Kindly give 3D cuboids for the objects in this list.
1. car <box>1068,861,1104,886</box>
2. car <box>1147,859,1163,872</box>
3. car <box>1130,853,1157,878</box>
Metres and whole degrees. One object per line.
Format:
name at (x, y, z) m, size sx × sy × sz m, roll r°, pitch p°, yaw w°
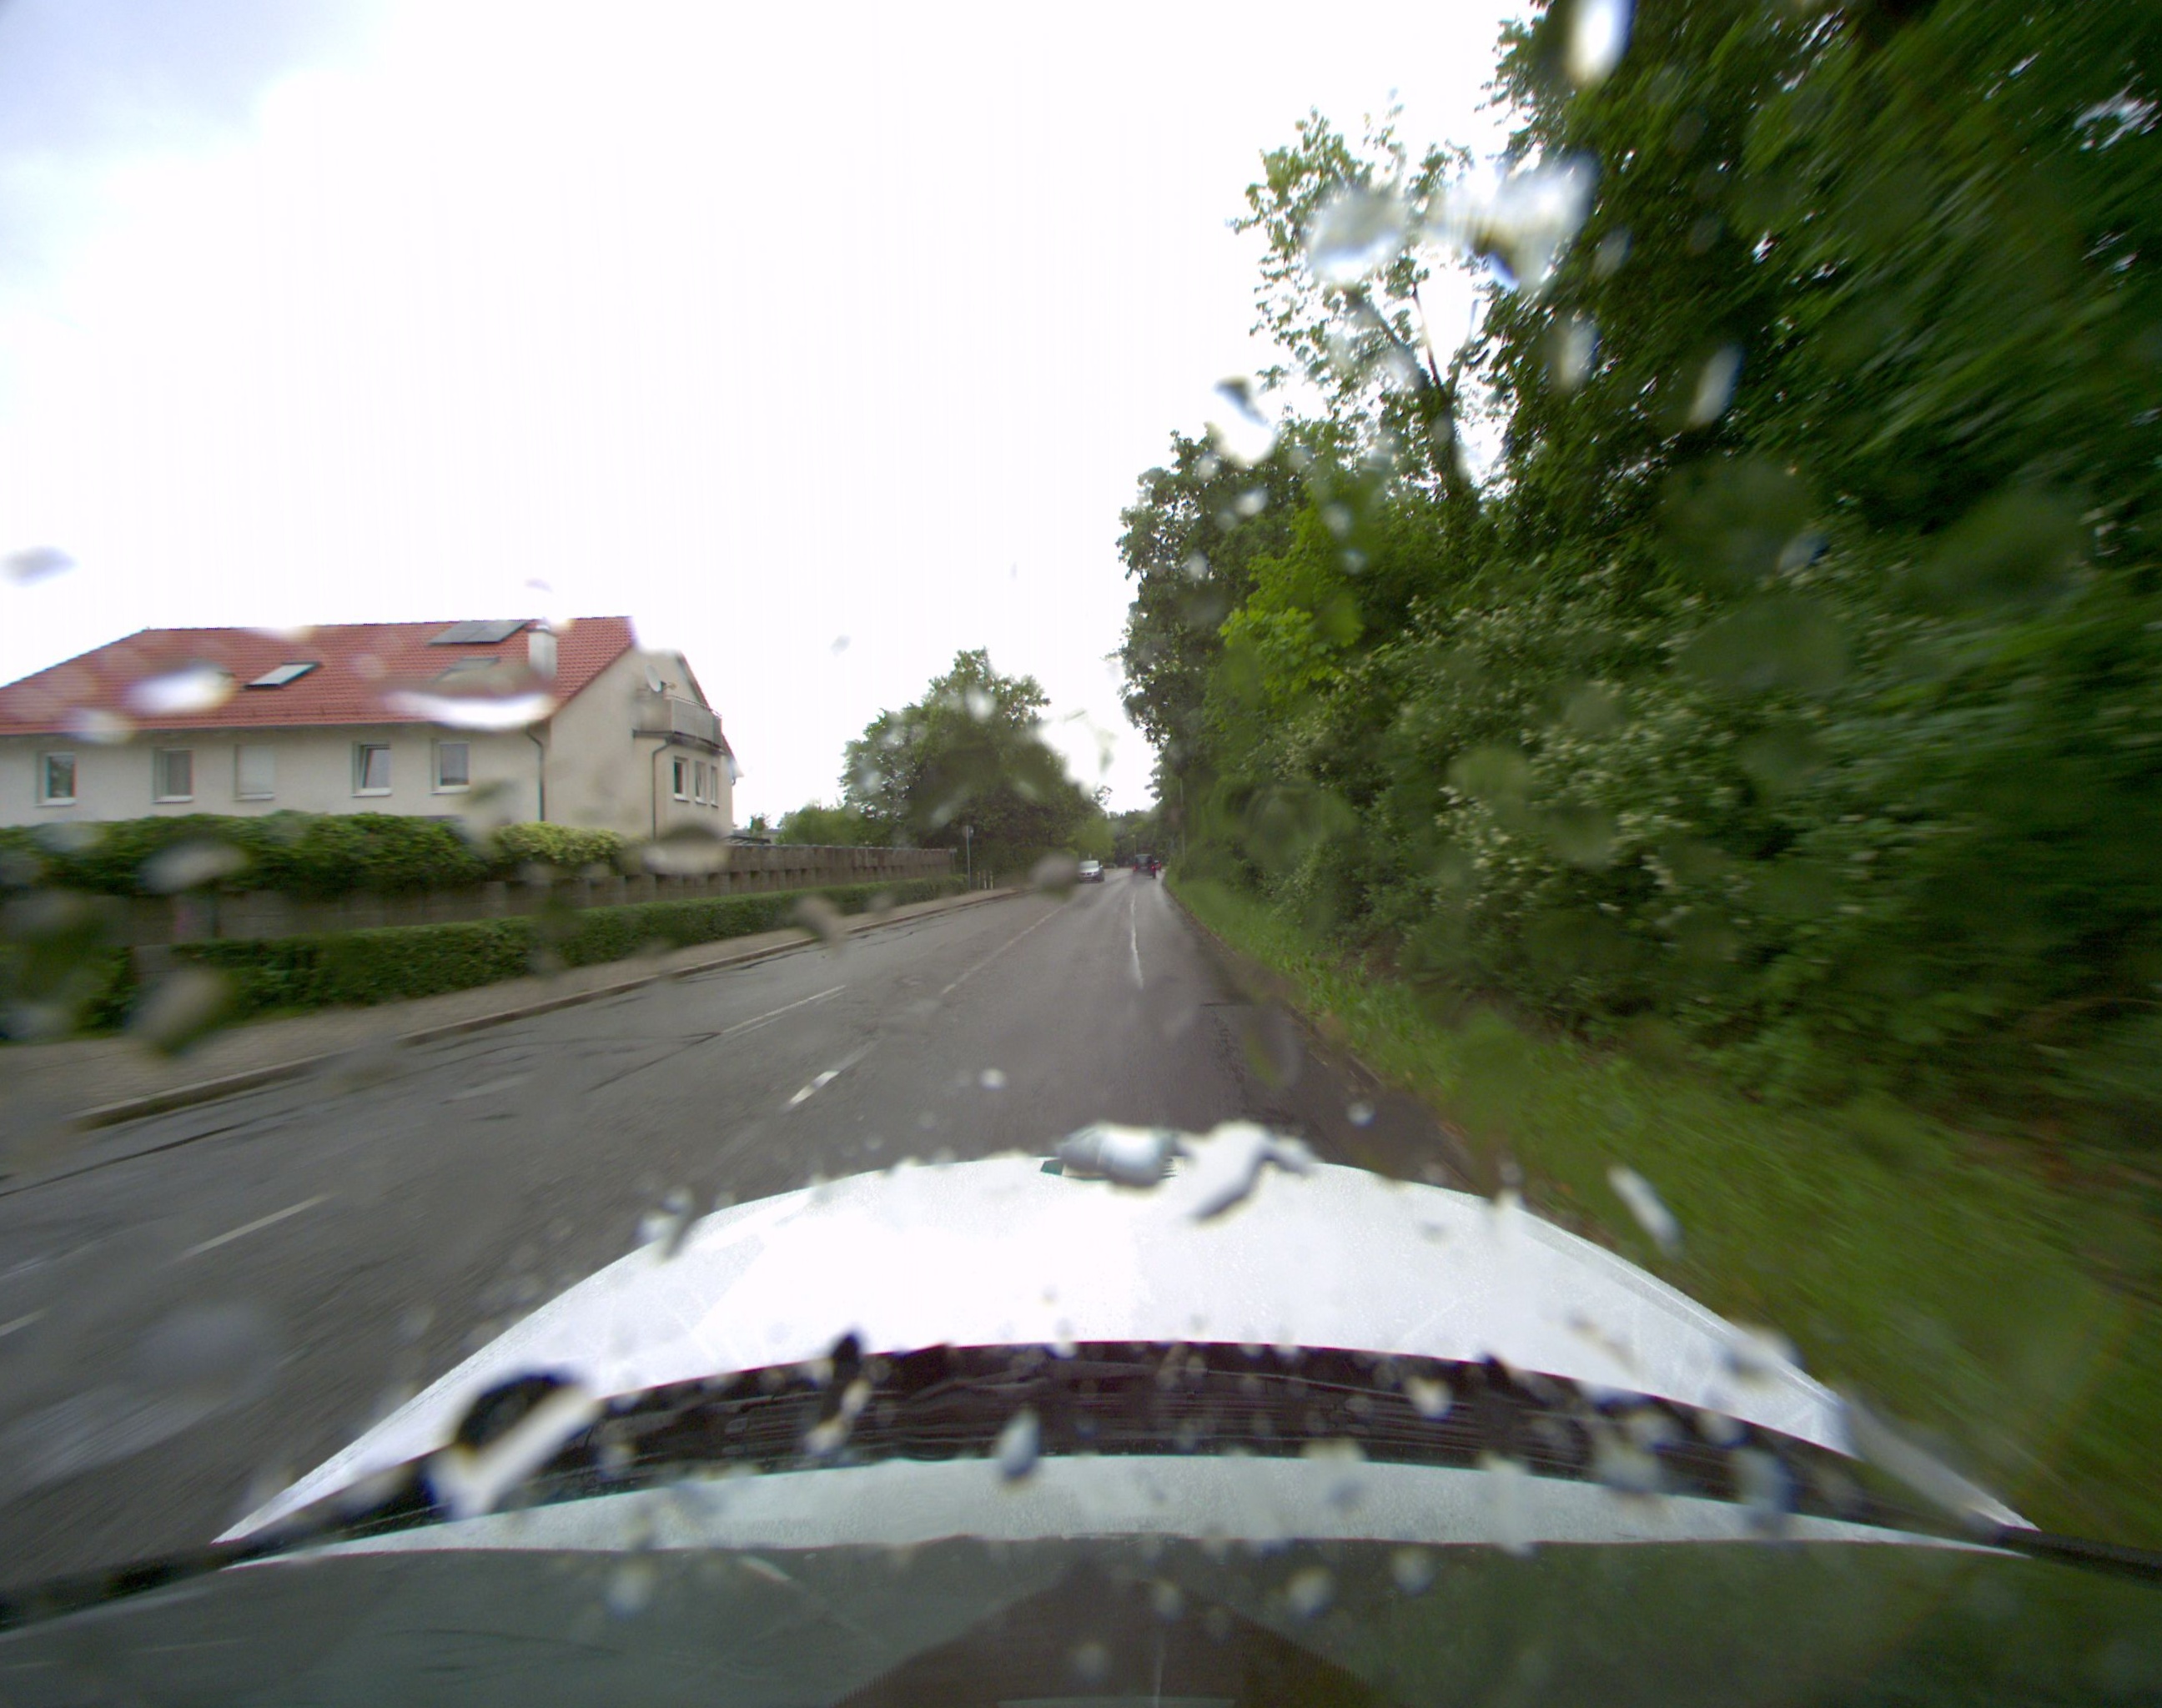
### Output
car at (0.391, 1.257, 54.740) m, size 1.984 × 1.420 × 4.491 m, roll -4°, pitch 0°, yaw 4°
car at (10.573, 1.618, 116.284) m, size 1.942 × 1.749 × 4.003 m, roll -3°, pitch 1°, yaw 2°
car at (4.905, 0.866, 63.808) m, size 1.984 × 1.793 × 4.006 m, roll 0°, pitch 1°, yaw 5°
